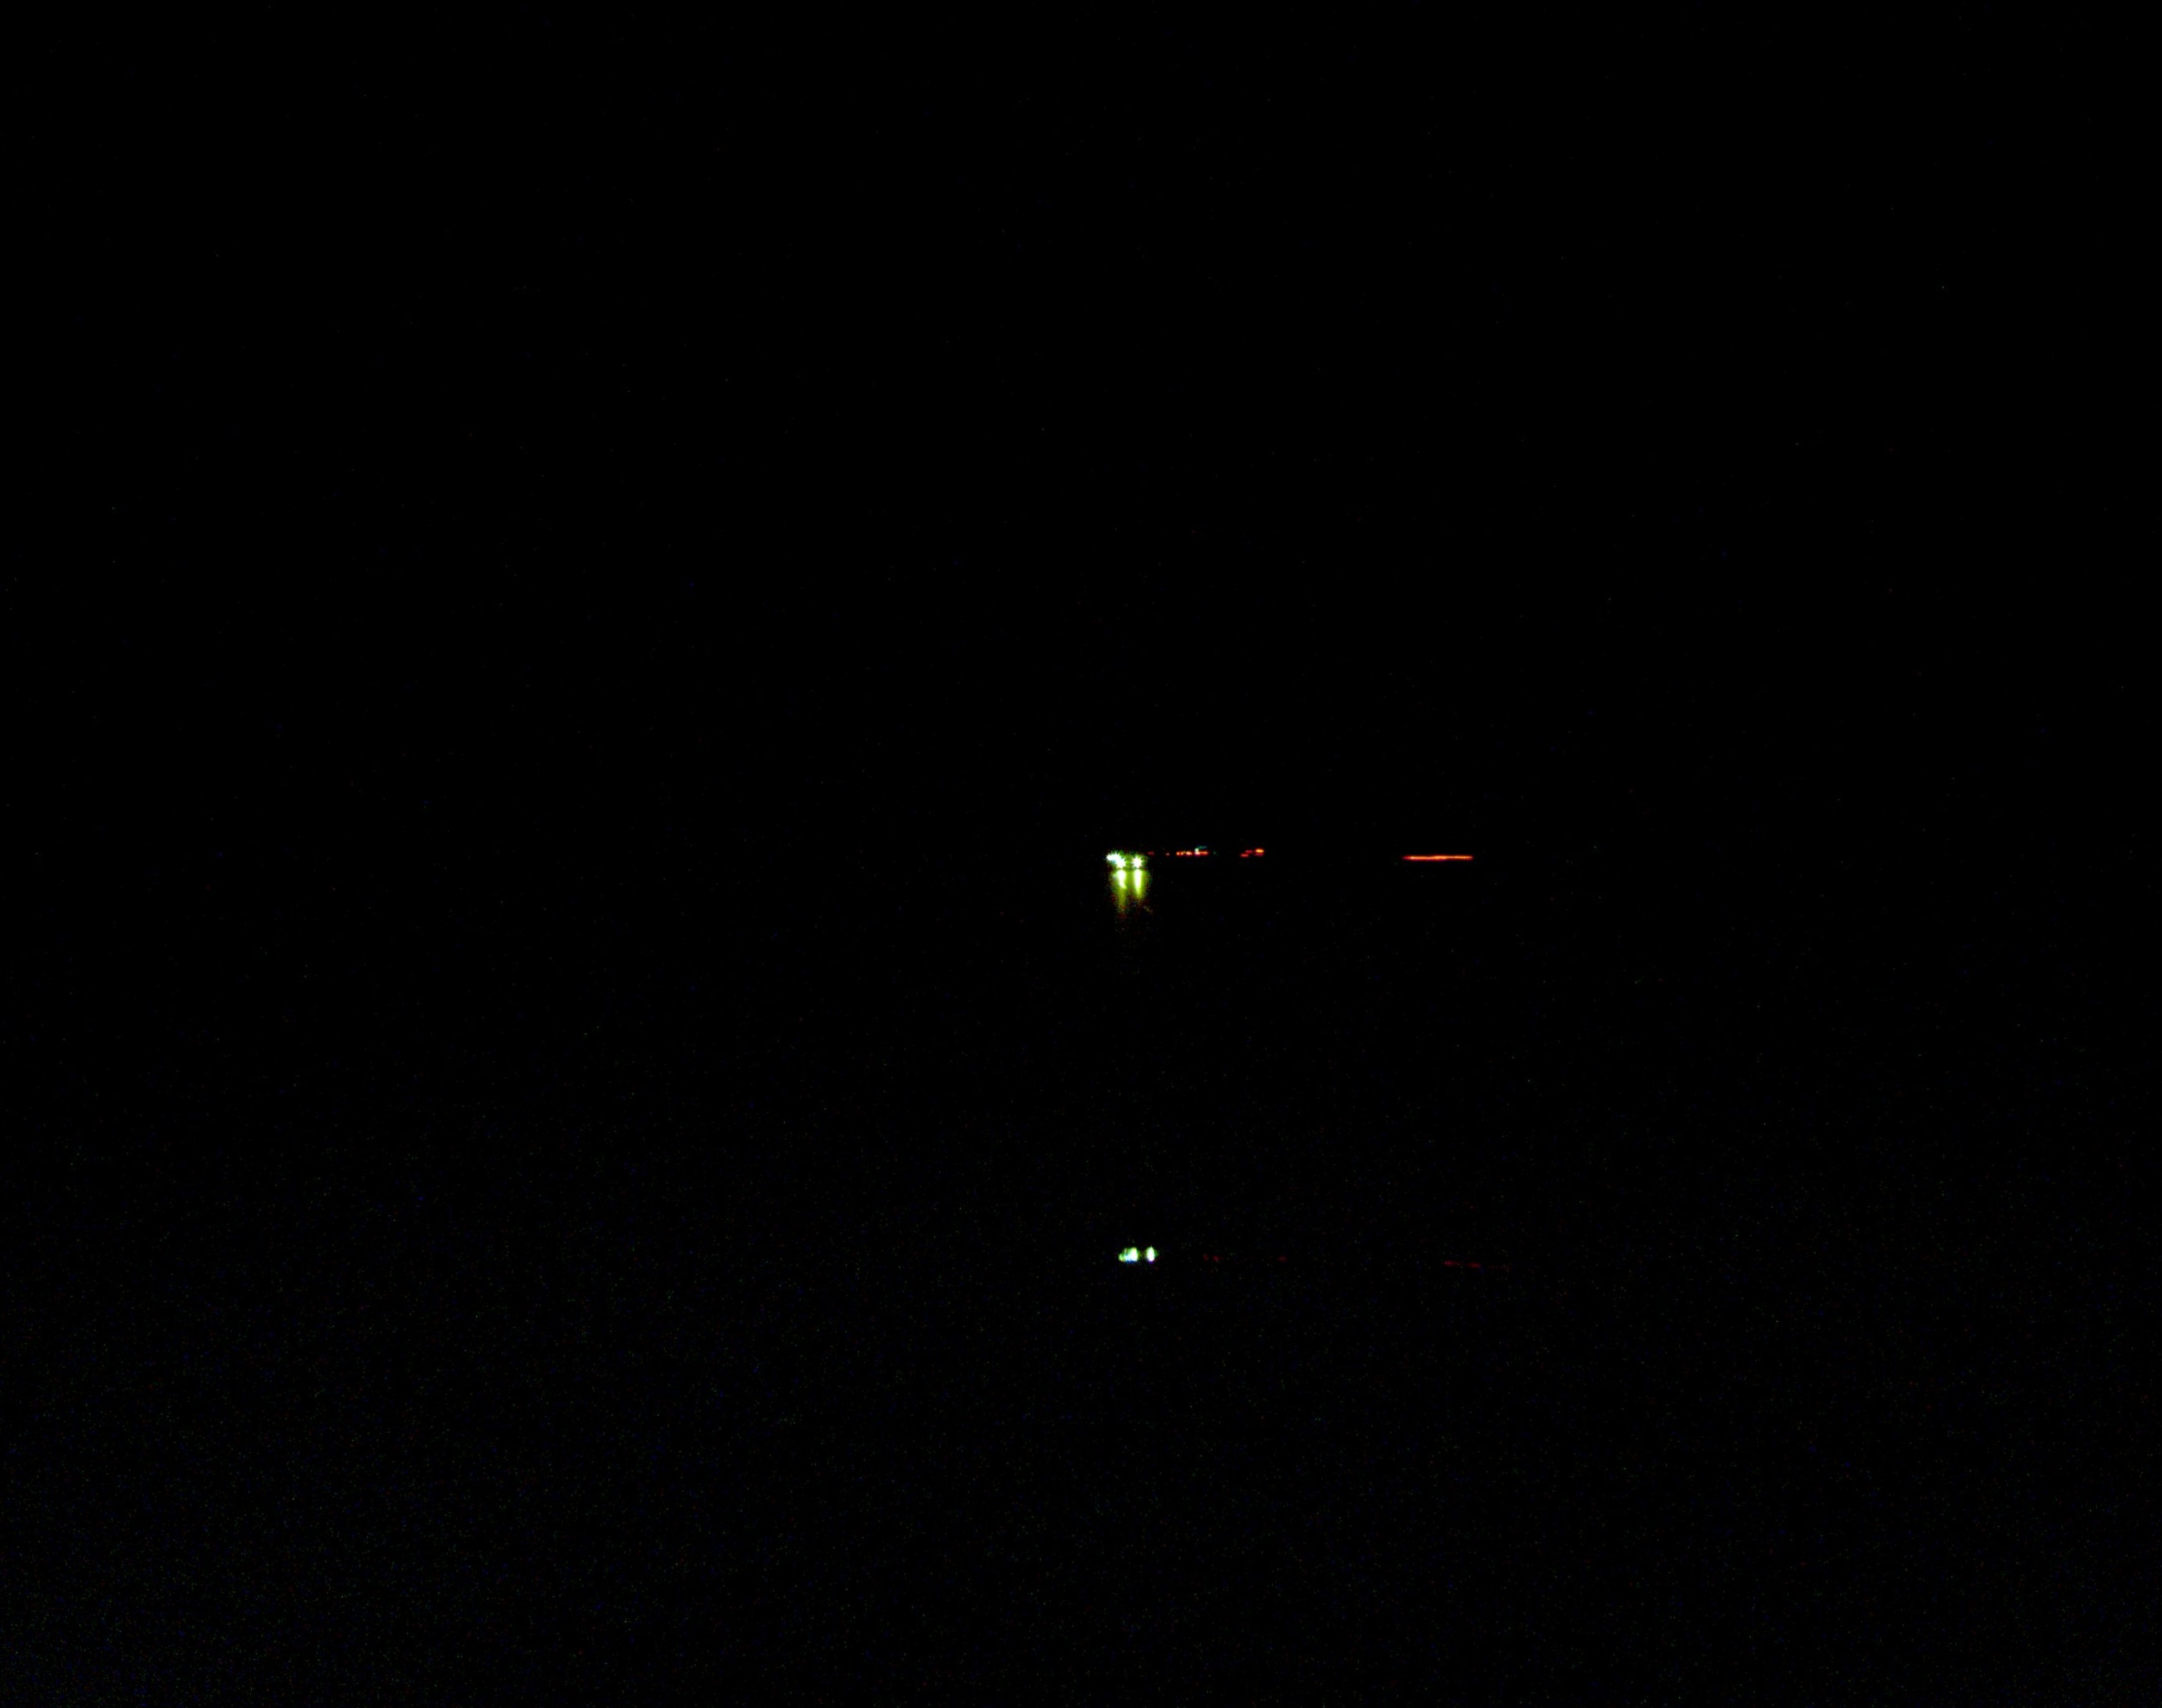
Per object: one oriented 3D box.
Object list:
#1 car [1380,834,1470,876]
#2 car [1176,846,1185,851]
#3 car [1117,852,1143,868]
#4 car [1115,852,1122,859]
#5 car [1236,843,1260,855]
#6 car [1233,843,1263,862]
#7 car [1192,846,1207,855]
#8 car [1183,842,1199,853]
[{"bbox_3d":[15.484,0.037,34.487,1.998,1.724,4.659,-2,0,1],"label":"car"},{"bbox_3d":[29.797,-1.660,226.790,1.999,1.500,3.999,-2,0,-1],"label":"car"},{"bbox_3d":[4.559,0.588,71.373,1.999,1.422,4.330,-3,-1,0],"label":"car"},{"bbox_3d":[11.399,0.470,232.351,1.998,1.724,4.225,-3,0,0],"label":"car"},{"bbox_3d":[21.410,-0.651,97.341,1.998,1.500,5.185,-2,0,2],"label":"car"},{"bbox_3d":[16.630,-0.150,75.880,1.998,1.724,4.659,-2,0,1],"label":"car"},{"bbox_3d":[21.996,-0.620,141.306,1.999,1.500,5.202,-2,0,-1],"label":"car"},{"bbox_3d":[17.997,-1.052,124.361,1.998,1.724,4.659,-2,0,1],"label":"car"}]
